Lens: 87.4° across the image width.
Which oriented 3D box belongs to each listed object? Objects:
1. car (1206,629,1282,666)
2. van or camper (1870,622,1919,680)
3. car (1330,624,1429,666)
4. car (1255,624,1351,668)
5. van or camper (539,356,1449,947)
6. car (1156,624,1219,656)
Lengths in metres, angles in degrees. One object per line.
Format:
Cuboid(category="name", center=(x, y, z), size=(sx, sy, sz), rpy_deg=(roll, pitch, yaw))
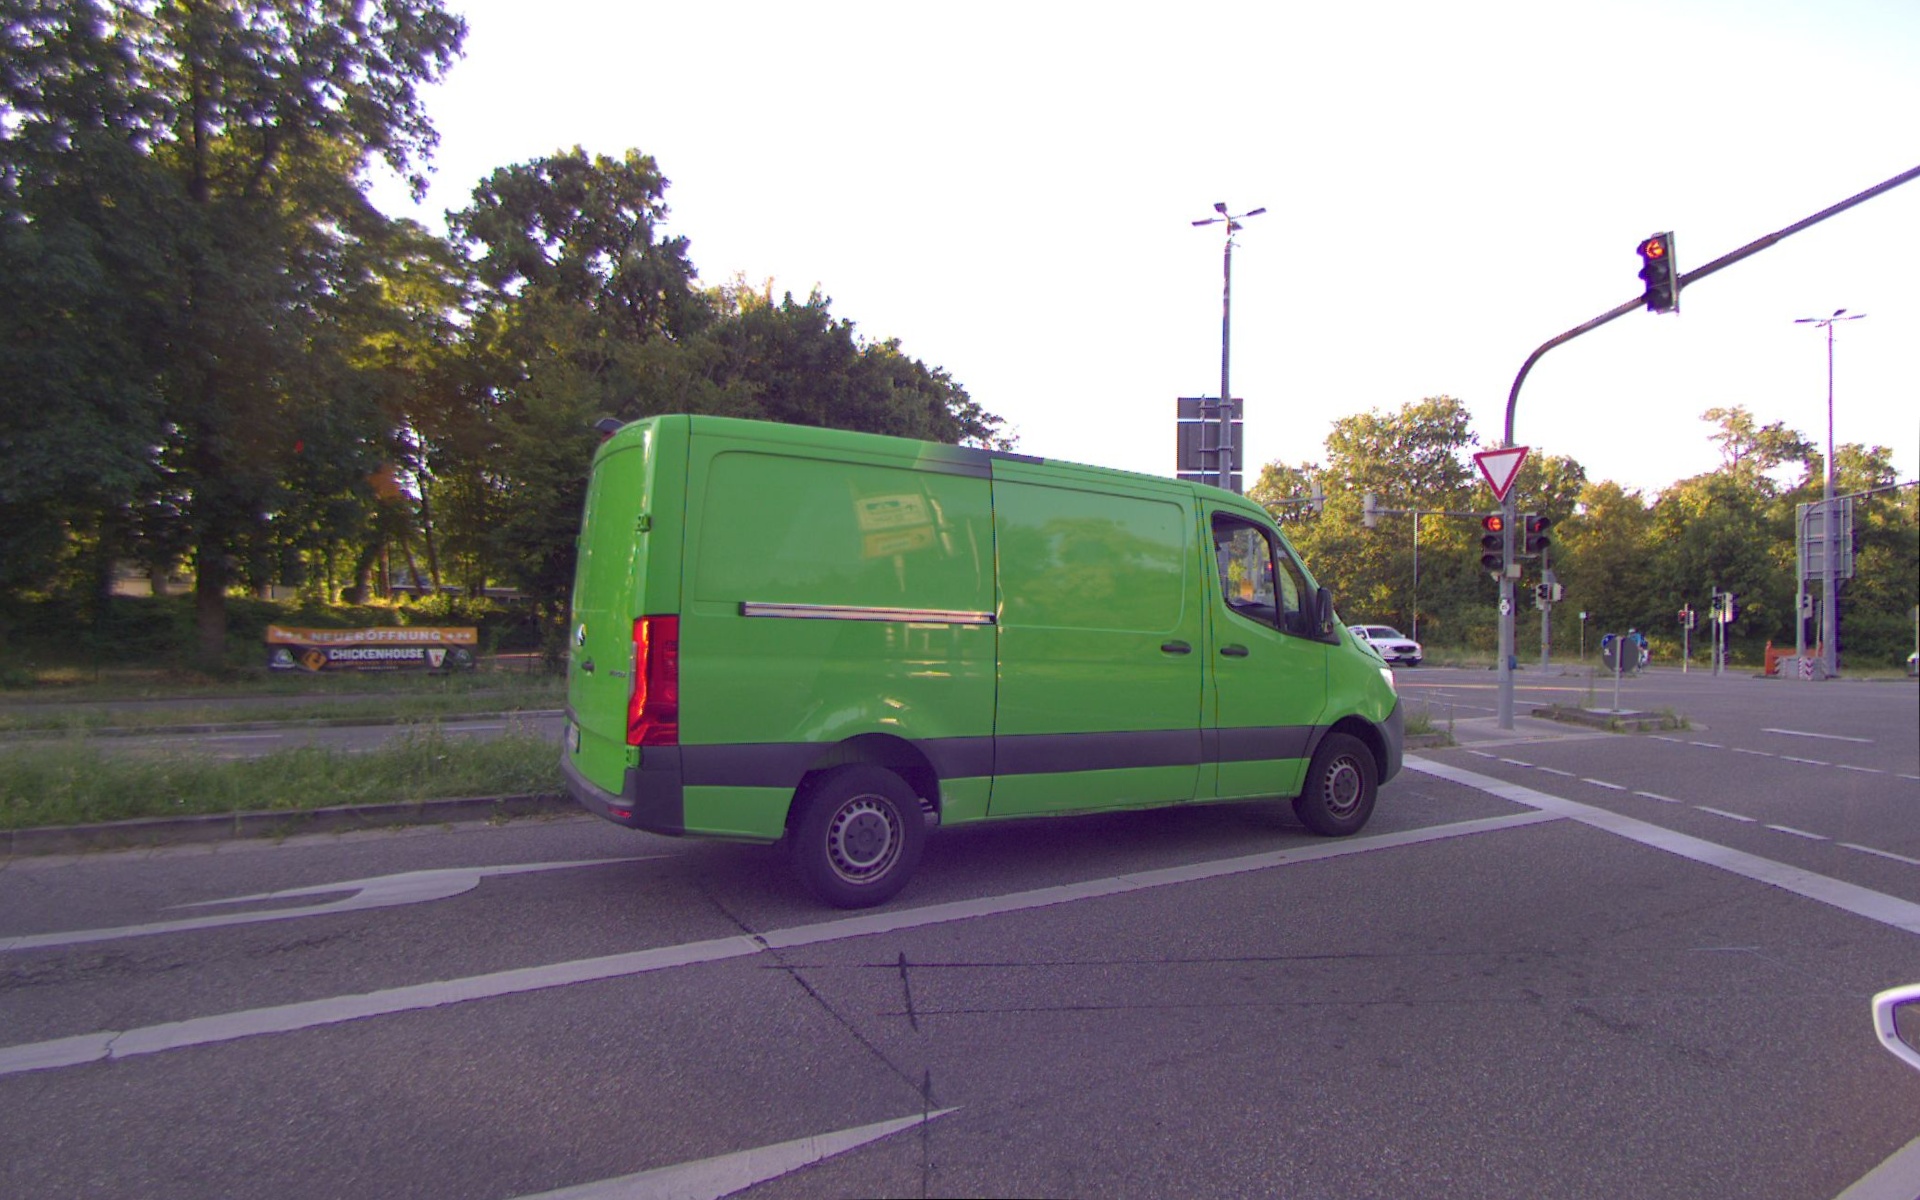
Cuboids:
Cuboid(category="car", center=(13.501, 2.230, 48.044), size=(1.963, 1.661, 4.252), rpy_deg=(1, -1, -8))
Cuboid(category="van or camper", center=(47.514, 2.426, 47.713), size=(6.998, 2.687, 2.888), rpy_deg=(1, -1, -12))
Cuboid(category="car", center=(17.498, 1.852, 42.102), size=(1.963, 1.661, 4.252), rpy_deg=(1, -1, -8))
Cuboid(category="car", center=(13.811, 1.817, 40.695), size=(1.963, 1.661, 4.252), rpy_deg=(1, -1, -8))
Cuboid(category="van or camper", center=(0.540, 0.294, 6.562), size=(5.830, 2.453, 1.983), rpy_deg=(2, -1, -32))
Cuboid(category="car", center=(12.688, 2.220, 56.197), size=(1.964, 1.661, 4.250), rpy_deg=(1, -1, -10))
